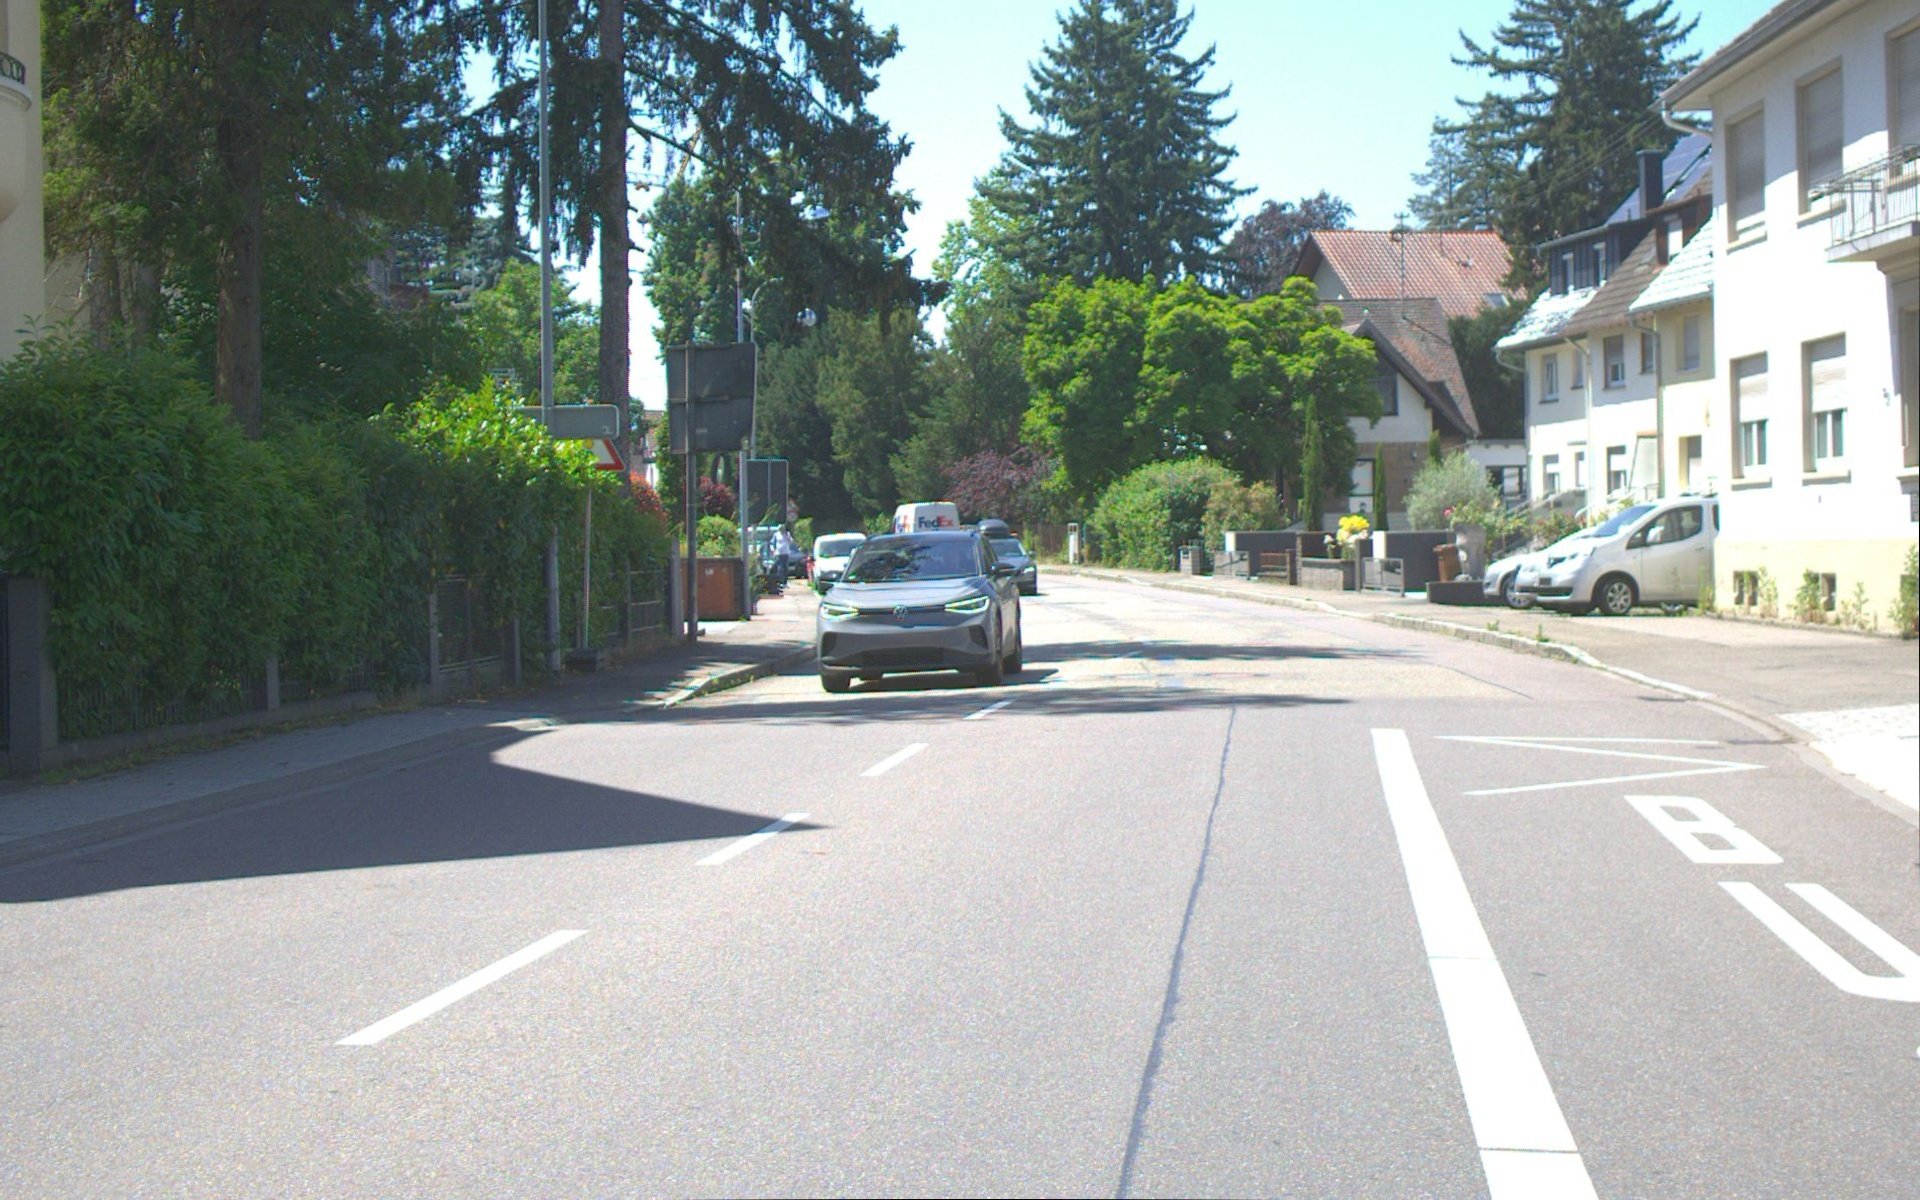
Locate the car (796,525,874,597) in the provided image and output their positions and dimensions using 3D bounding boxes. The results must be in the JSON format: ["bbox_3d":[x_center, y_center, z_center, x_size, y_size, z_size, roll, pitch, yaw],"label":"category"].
[{"bbox_3d":[-2.765,-0.882,75.453,1.578,1.418,3.941,-3,2,-3],"label":"car"}]

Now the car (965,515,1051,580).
[{"bbox_3d":[1.175,-1.330,86.117,1.806,1.483,4.387,-3,2,-3],"label":"car"}]

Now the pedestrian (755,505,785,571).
[{"bbox_3d":[-5.530,-1.809,100.150,0.689,1.883,1.019,4,0,1],"label":"pedestrian"}]

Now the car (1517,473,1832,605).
[{"bbox_3d":[10.860,-0.933,52.350,4.289,1.824,1.740,2,1,-9],"label":"car"}]

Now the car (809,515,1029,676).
[{"bbox_3d":[-0.374,-0.091,36.646,1.854,1.611,4.296,0,1,6],"label":"car"}]

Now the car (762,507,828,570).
[{"bbox_3d":[-4.902,-1.828,101.966,1.722,1.730,3.888,-3,1,-5],"label":"car"}]

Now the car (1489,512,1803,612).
[{"bbox_3d":[10.952,-0.620,55.081,4.640,1.404,1.769,2,1,1],"label":"car"}]

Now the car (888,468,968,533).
[{"bbox_3d":[-1.230,-3.764,129.870,2.143,2.307,4.854,-3,2,-10],"label":"car"}]

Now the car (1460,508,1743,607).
[{"bbox_3d":[10.788,-0.718,57.893,4.298,1.542,1.753,2,0,31],"label":"car"}]
